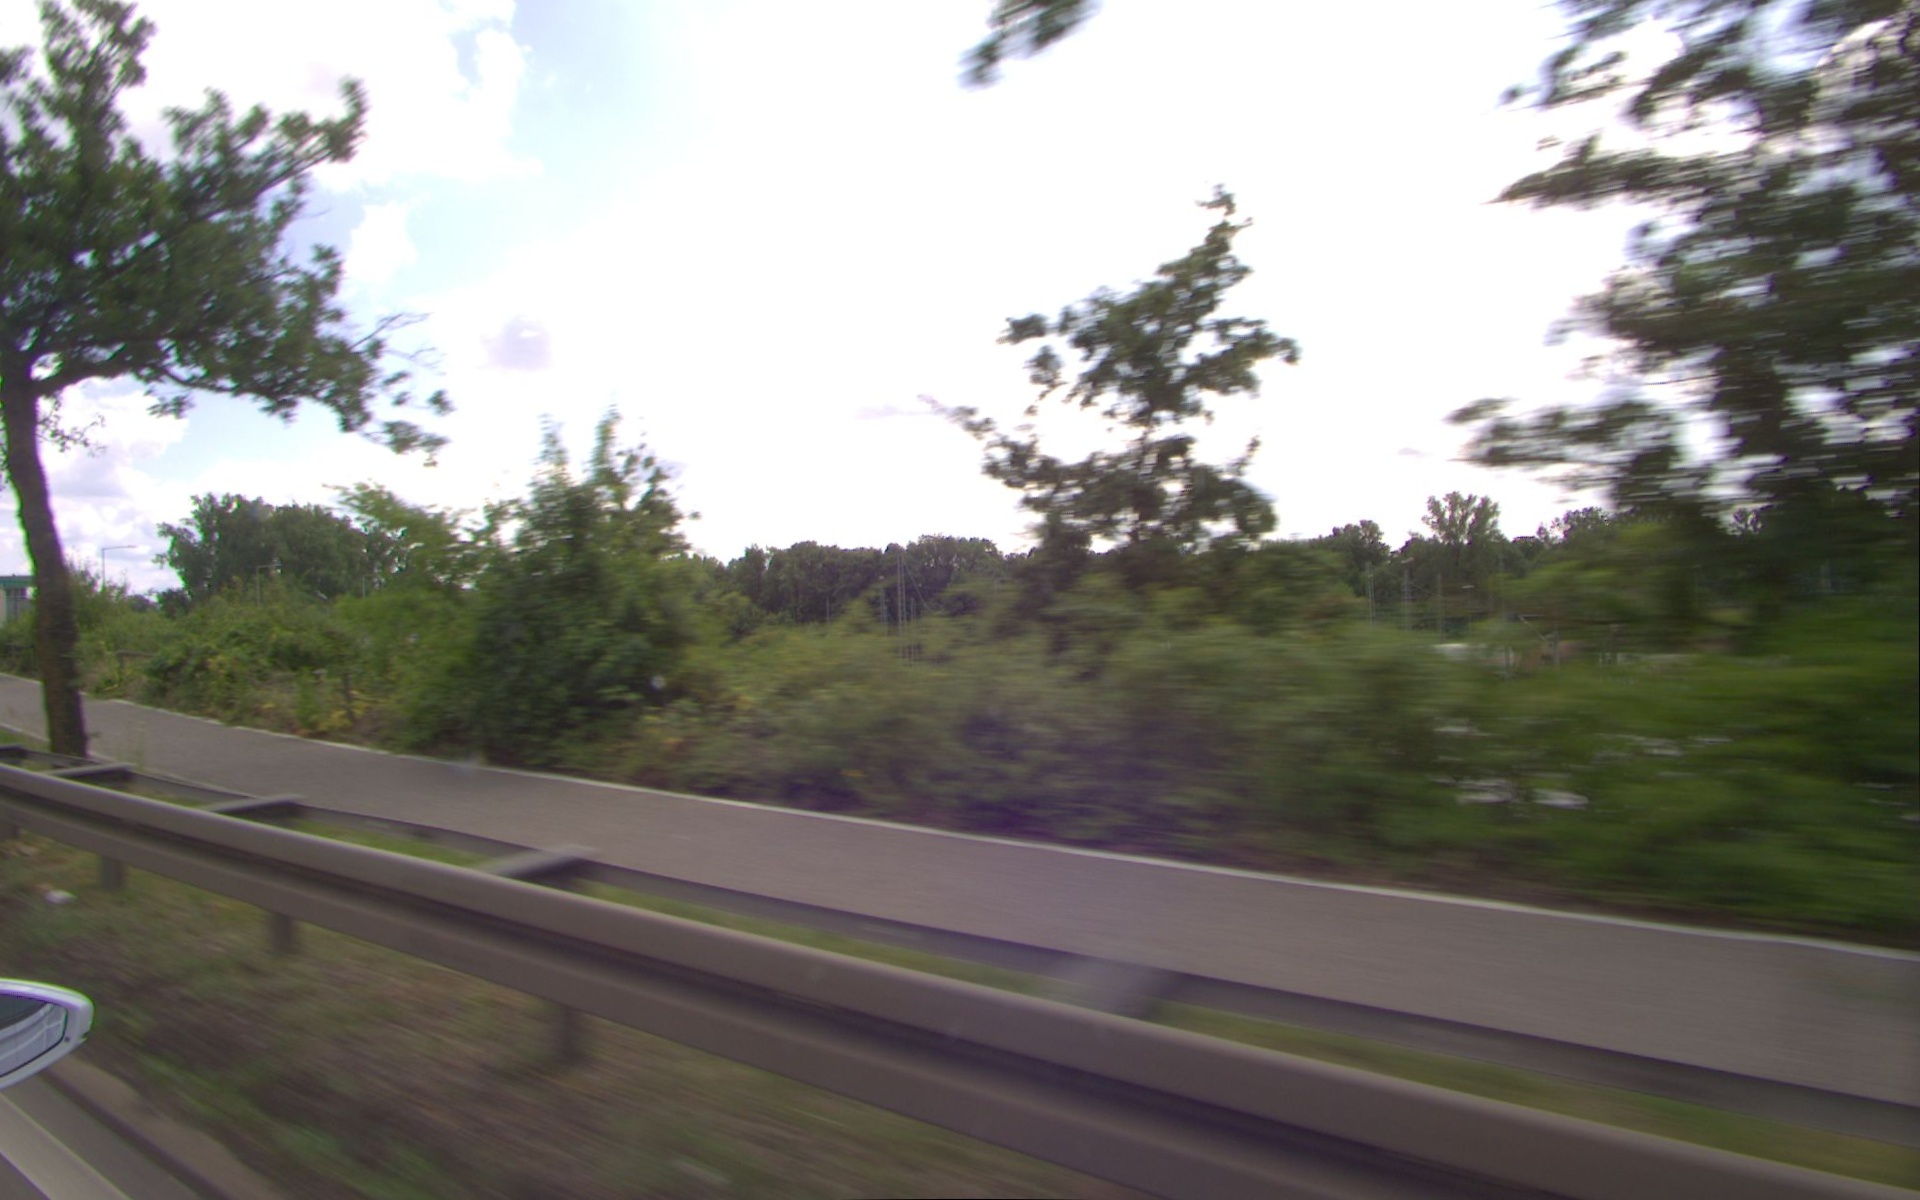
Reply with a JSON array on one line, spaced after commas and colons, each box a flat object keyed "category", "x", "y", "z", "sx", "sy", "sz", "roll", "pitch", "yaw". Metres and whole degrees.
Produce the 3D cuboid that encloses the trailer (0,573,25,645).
[{"category": "trailer", "x": -57.823, "y": 0.457, "z": 57.358, "sx": 2.675, "sy": 4.334, "sz": 14.165, "roll": 1, "pitch": -2, "yaw": -29}]
